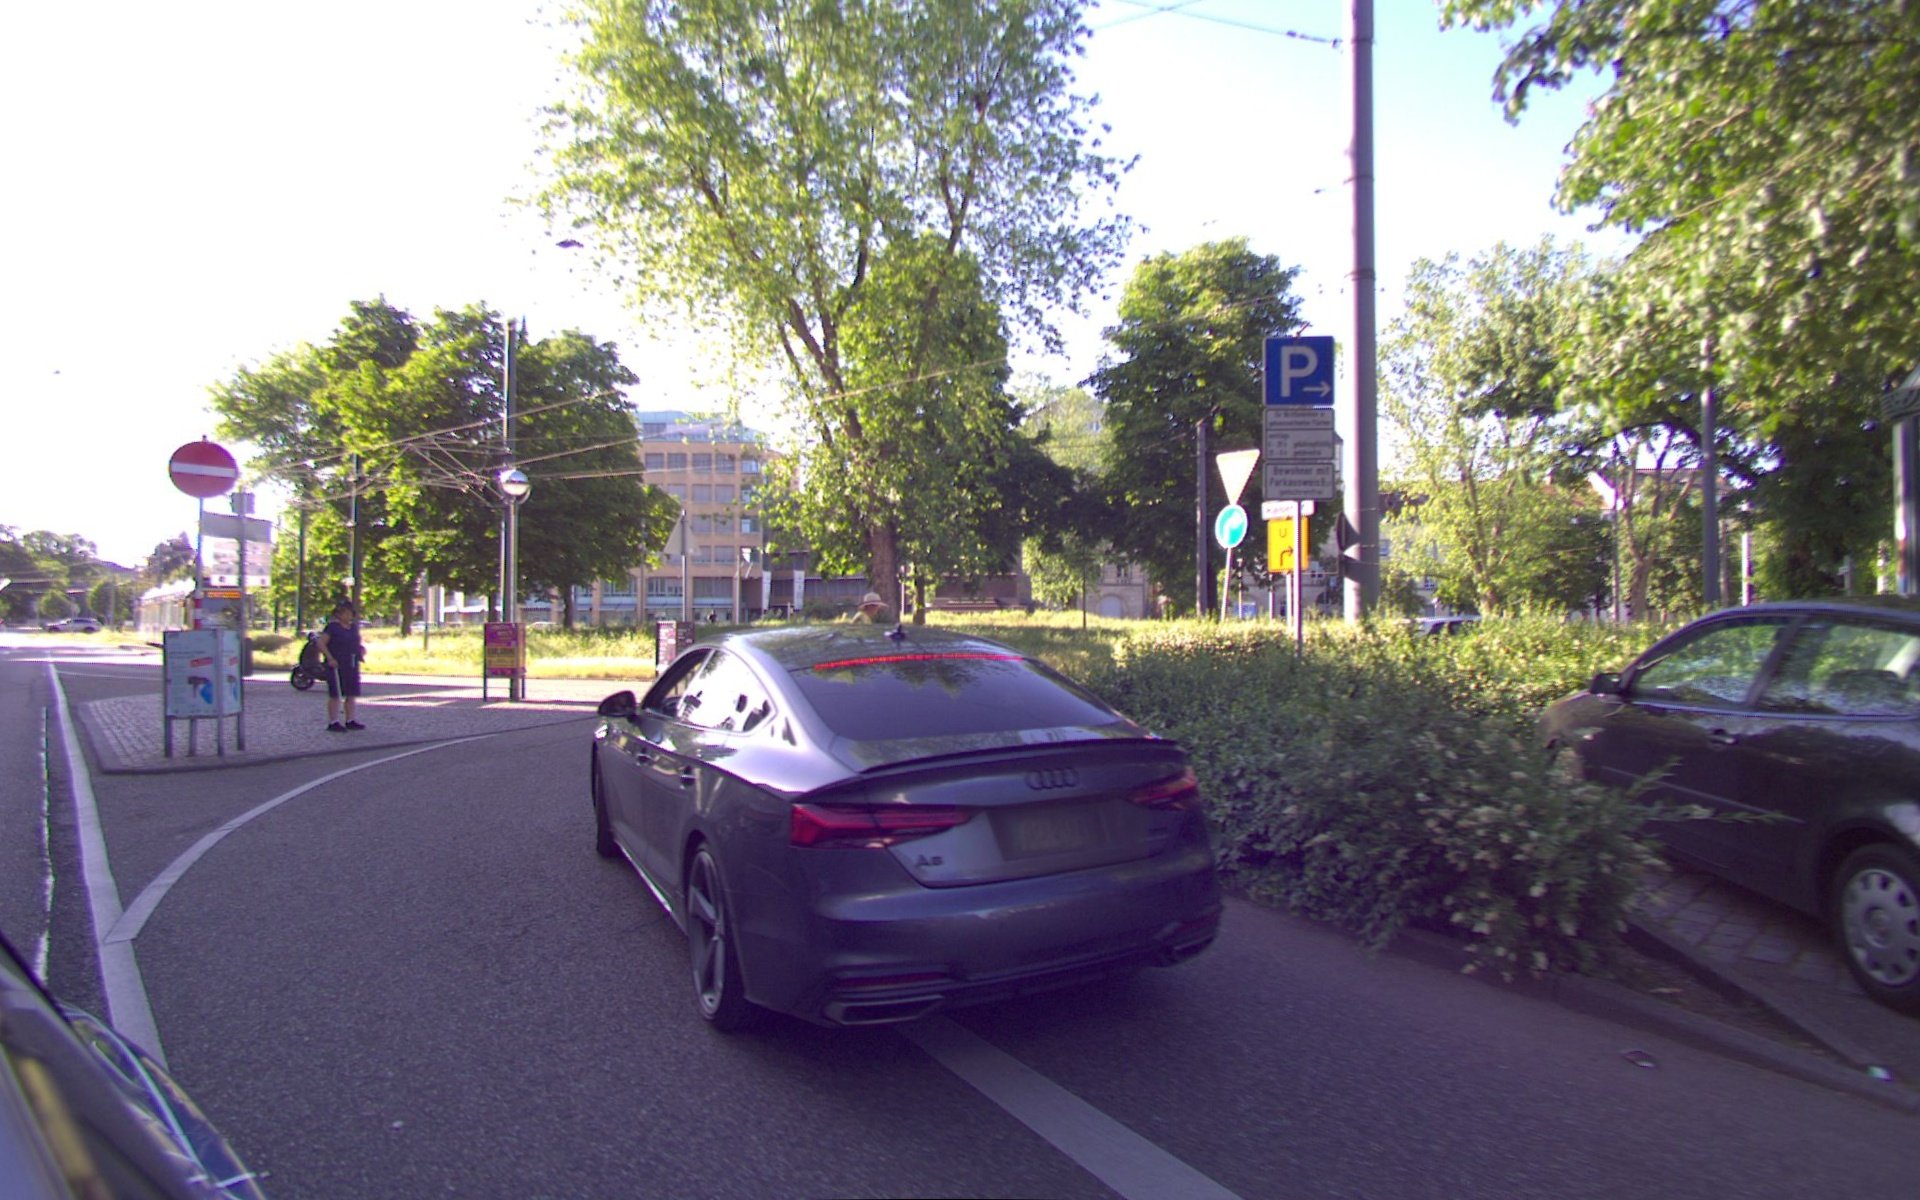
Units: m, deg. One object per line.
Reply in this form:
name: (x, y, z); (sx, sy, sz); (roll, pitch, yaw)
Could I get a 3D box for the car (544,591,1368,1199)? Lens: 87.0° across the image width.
car: (-0.680, 0.693, 4.942); (1.885, 1.427, 4.825); (0, 0, -30)

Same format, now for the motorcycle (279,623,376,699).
motorcycle: (-12.163, 1.143, 19.461); (1.750, 1.384, 0.742); (0, 0, 24)

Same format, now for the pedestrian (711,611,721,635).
pedestrian: (-16.821, 1.583, 69.762); (0.547, 1.628, 0.676); (0, 0, -5)

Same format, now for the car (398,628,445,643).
car: (-57.438, 3.775, 107.887); (4.630, 1.528, 1.985); (0, 0, 22)

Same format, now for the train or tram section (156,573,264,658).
train or tram section: (-37.495, 0.848, 50.313); (2.914, 3.713, 13.198); (0, -2, -43)

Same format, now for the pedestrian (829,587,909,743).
pedestrian: (-1.029, 0.716, 11.515); (0.795, 1.712, 0.669); (0, 0, 6)

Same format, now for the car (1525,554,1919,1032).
car: (4.235, 0.587, 4.564); (1.856, 1.481, 3.984); (0, 0, 13)

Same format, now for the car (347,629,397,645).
car: (-64.788, 4.067, 111.557); (5.051, 1.747, 2.091); (-1, -2, 22)

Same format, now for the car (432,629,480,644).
car: (-58.242, 4.219, 116.995); (5.177, 1.681, 2.108); (0, 0, 23)

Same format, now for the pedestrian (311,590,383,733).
pedestrian: (-7.489, 0.723, 12.359); (0.628, 1.685, 0.693); (0, 0, -42)

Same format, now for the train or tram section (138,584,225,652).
train or tram section: (-46.370, 1.150, 60.028); (2.914, 3.640, 13.649); (0, -2, -43)
